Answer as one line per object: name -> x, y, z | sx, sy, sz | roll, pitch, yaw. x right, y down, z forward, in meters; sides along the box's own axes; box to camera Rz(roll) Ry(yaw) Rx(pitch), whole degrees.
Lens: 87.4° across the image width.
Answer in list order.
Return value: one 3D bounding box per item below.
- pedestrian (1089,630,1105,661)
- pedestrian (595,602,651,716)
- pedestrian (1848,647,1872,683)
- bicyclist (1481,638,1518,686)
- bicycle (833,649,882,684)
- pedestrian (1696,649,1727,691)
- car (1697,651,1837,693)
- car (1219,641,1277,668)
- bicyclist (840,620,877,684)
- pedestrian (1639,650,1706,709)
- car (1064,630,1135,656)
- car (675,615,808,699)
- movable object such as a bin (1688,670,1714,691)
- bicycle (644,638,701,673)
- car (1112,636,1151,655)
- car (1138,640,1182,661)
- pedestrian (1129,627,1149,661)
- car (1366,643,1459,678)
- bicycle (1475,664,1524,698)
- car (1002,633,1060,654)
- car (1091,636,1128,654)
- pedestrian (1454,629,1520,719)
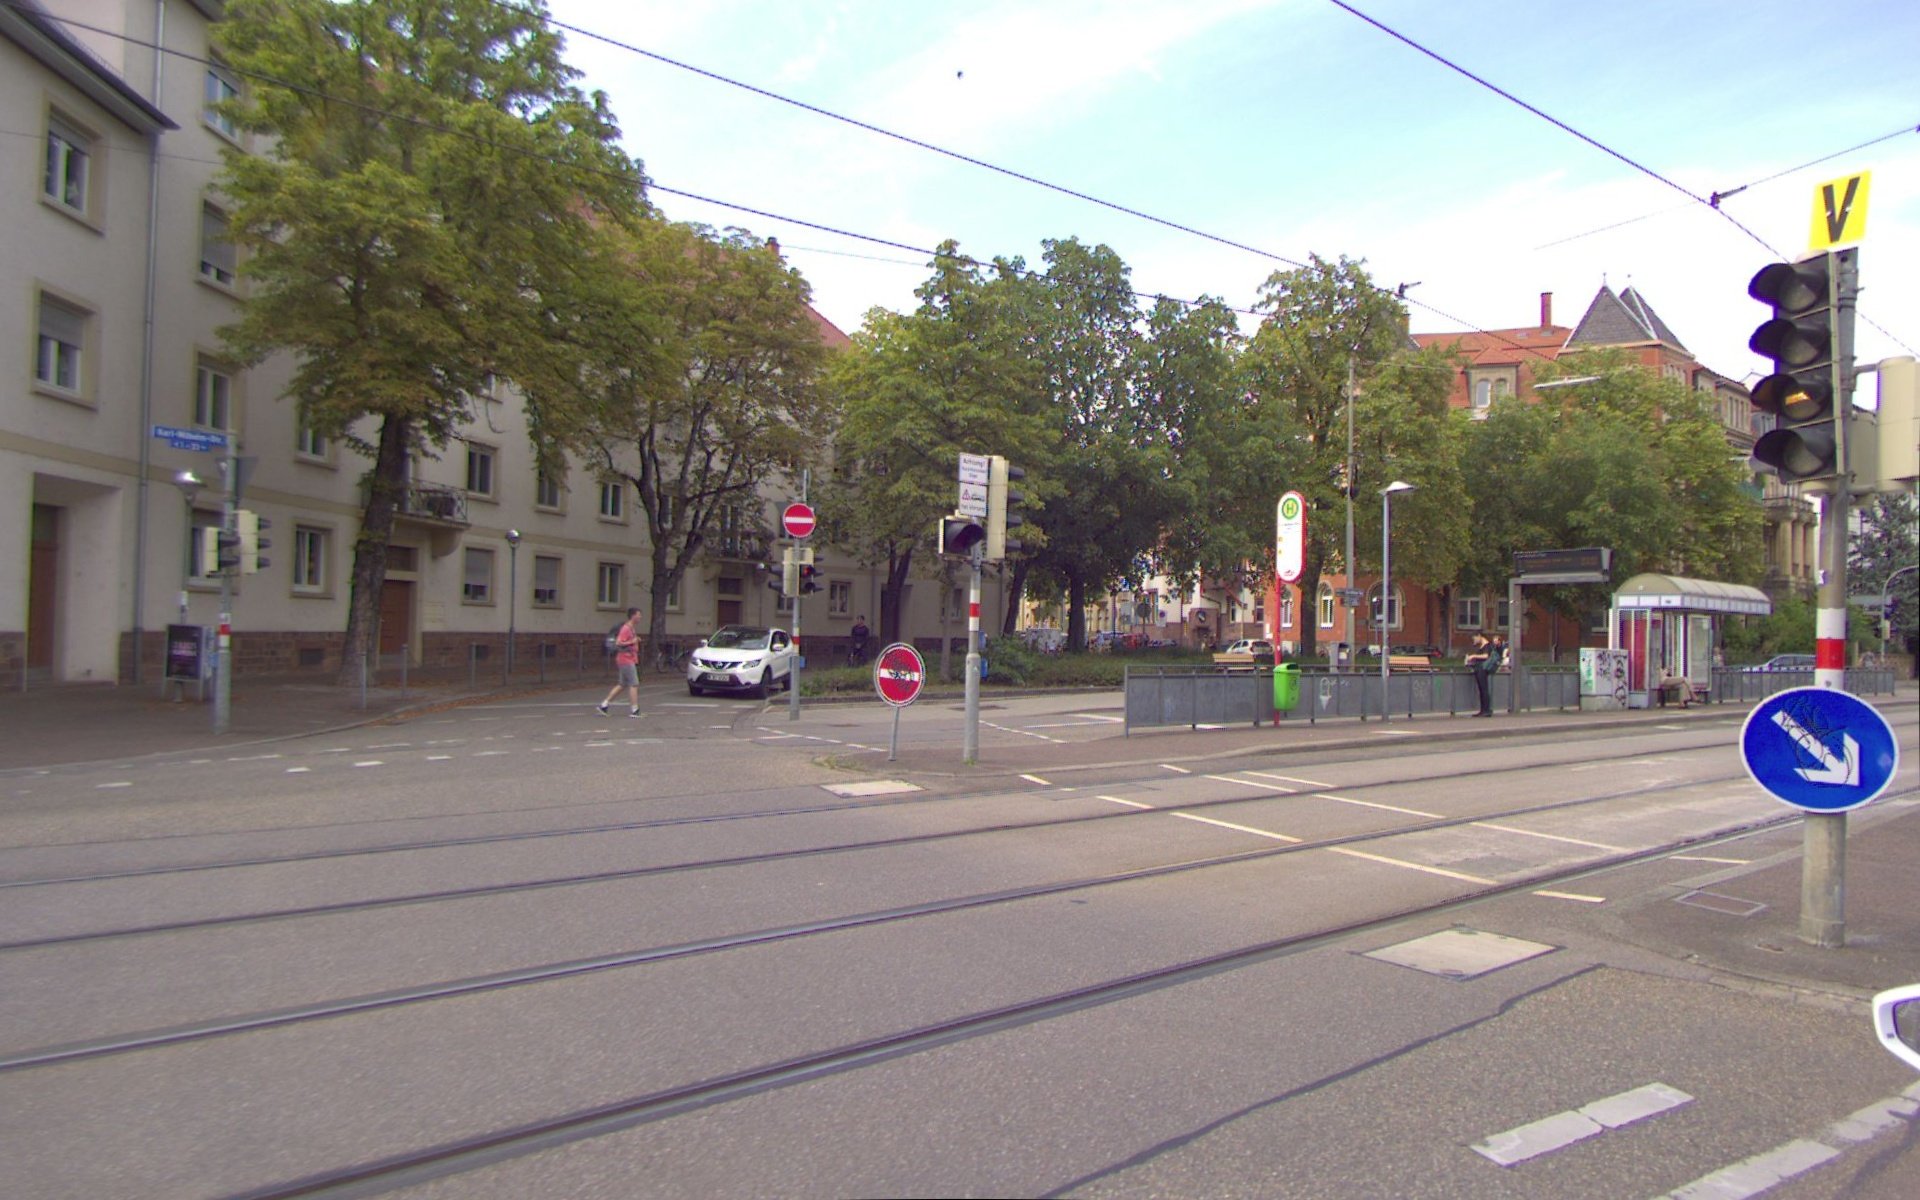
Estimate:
pedestrian -> 7.809, 2.590, 57.464 | 0.671, 1.777, 0.731 | 2, -2, -13
pedestrian -> -5.802, 1.013, 17.342 | 0.821, 1.925, 0.730 | 2, -2, -16
pedestrian -> 45.421, 3.275, 50.677 | 0.826, 1.807, 0.726 | 2, -2, -34
bicyclist -> 15.835, 1.817, 29.472 | 0.827, 1.357, 0.657 | 3, -2, -34
bicycle -> -2.918, 1.894, 28.736 | 0.597, 0.949, 1.574 | 0, -2, 28
pedestrian -> 30.493, 2.836, 40.769 | 0.738, 1.654, 0.862 | 3, -2, -39
car -> 35.348, 3.141, 44.118 | 4.260, 1.599, 2.214 | 1, -2, 7
car -> 17.499, 3.289, 61.226 | 1.783, 1.497, 3.993 | 2, -2, -11
bicyclist -> -2.903, 1.488, 28.760 | 0.601, 1.798, 0.910 | 0, -2, 28
pedestrian -> 16.612, 1.844, 23.429 | 0.978, 1.310, 1.050 | 3, -2, -39
car -> 8.479, 2.612, 61.138 | 3.930, 1.413, 1.812 | 2, -2, -12
car -> -5.091, 1.397, 24.063 | 1.804, 1.743, 4.164 | 2, -4, 6
movable object such as a bin -> 30.067, 3.242, 40.764 | 0.617, 0.810, 0.722 | 3, -2, -39
bicycle -> -8.815, 1.688, 30.839 | 0.486, 1.022, 1.837 | 0, -2, 30
car -> 13.566, 3.587, 79.543 | 1.783, 1.413, 3.993 | 2, -2, -11
car -> 14.737, 3.692, 74.135 | 1.783, 1.413, 3.993 | 2, -2, -11
pedestrian -> 9.289, 2.275, 52.103 | 0.720, 1.777, 0.751 | 2, -2, -15
car -> 21.410, 2.825, 47.540 | 3.925, 1.497, 1.814 | 0, -2, 26
bicycle -> 15.825, 2.366, 29.455 | 1.534, 0.961, 0.656 | 3, -2, -34
car -> 5.185, 3.167, 73.547 | 3.930, 1.413, 1.812 | 2, -2, -12
car -> 12.532, 3.760, 84.453 | 1.783, 1.413, 3.993 | 2, -2, -11
pedestrian -> 10.022, 1.392, 19.108 | 0.836, 1.642, 0.845 | 3, -2, -39
